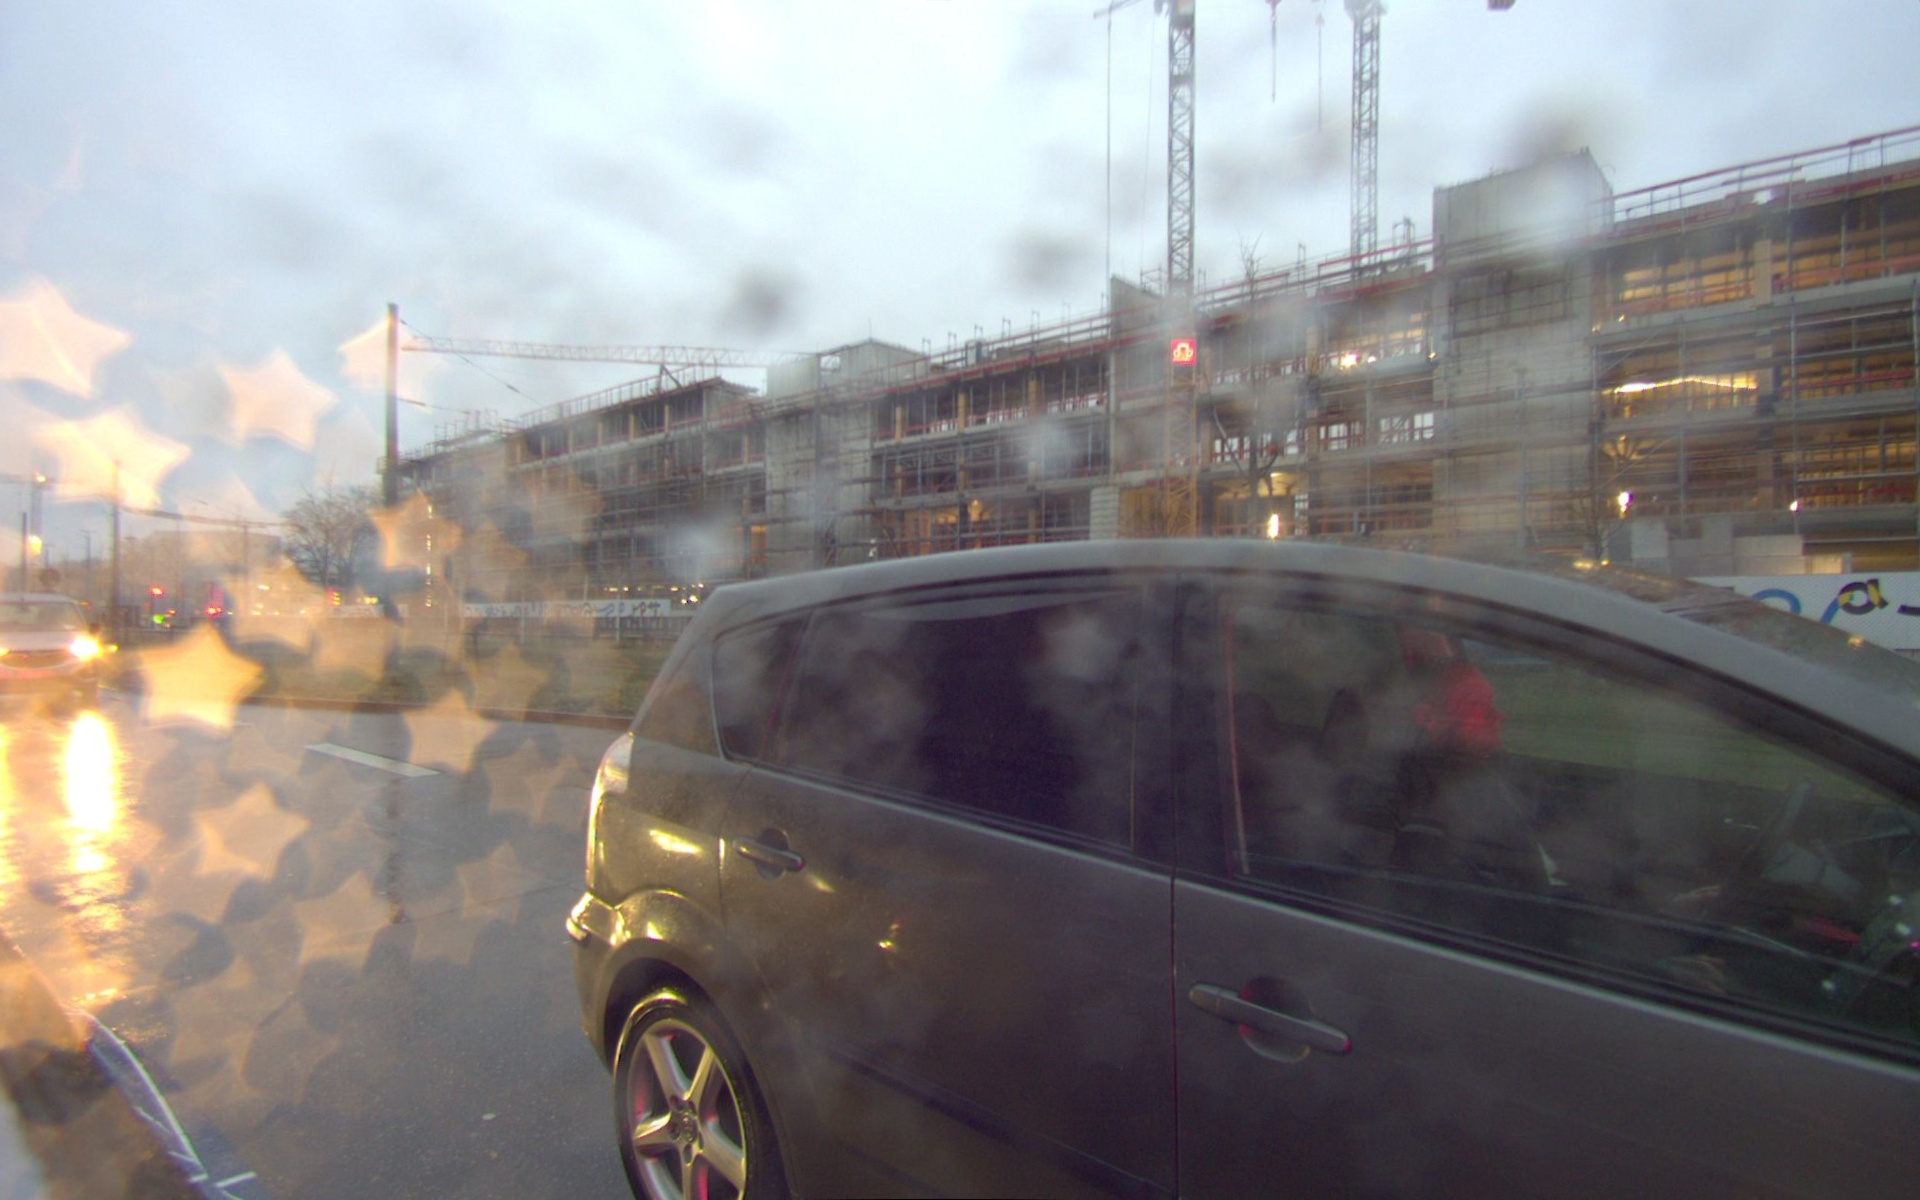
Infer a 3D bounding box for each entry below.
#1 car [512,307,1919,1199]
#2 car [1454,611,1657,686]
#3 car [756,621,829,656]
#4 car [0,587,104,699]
[{"bbox_3d":[1.026,0.549,1.830,3.996,1.606,1.742,-1,0,39],"label":"car"},{"bbox_3d":[14.940,1.150,25.511,4.085,1.700,1.931,-1,0,44],"label":"car"},{"bbox_3d":[-9.236,2.102,55.685,4.000,1.785,1.972,-1,0,43],"label":"car"},{"bbox_3d":[-16.215,0.691,17.384,4.000,1.746,1.833,-1,0,43],"label":"car"}]
